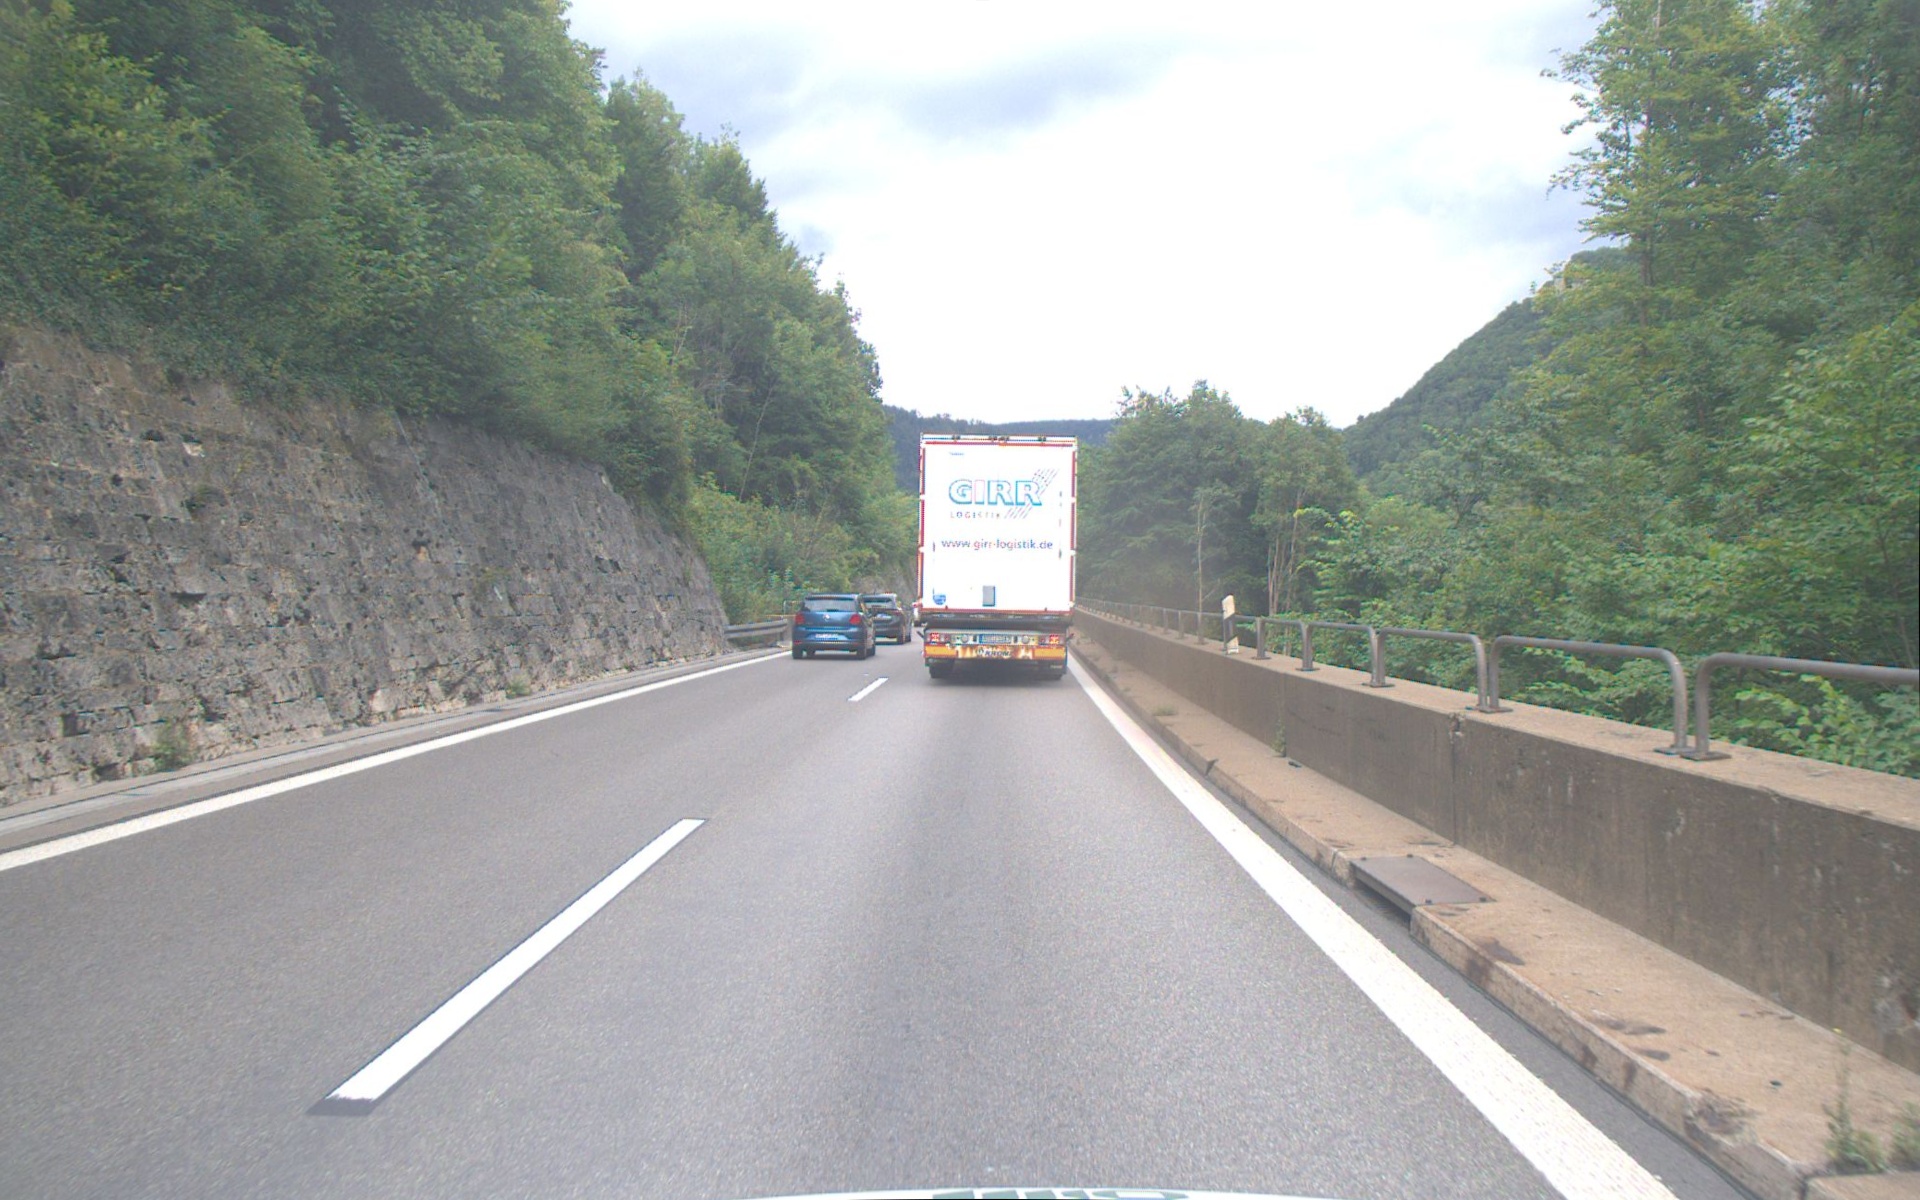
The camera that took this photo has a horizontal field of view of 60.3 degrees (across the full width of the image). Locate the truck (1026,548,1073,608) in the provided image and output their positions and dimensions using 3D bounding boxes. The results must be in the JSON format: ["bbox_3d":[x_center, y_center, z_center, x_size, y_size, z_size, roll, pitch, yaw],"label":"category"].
[{"bbox_3d":[5.982,-1.379,110.240,2.909,3.831,10.365,0,0,3],"label":"truck"}]

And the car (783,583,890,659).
[{"bbox_3d":[-2.734,0.442,37.646,1.952,1.624,4.355,0,0,2],"label":"car"}]

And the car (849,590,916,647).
[{"bbox_3d":[-2.256,0.562,49.183,1.709,1.614,4.000,0,-1,1],"label":"car"}]

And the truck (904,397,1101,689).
[{"bbox_3d":[0.865,-0.960,33.601,3.020,4.542,15.159,1,0,2],"label":"truck"}]

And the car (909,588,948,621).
[{"bbox_3d":[-1.482,0.229,78.909,1.709,1.512,4.000,0,-1,1],"label":"car"}]
